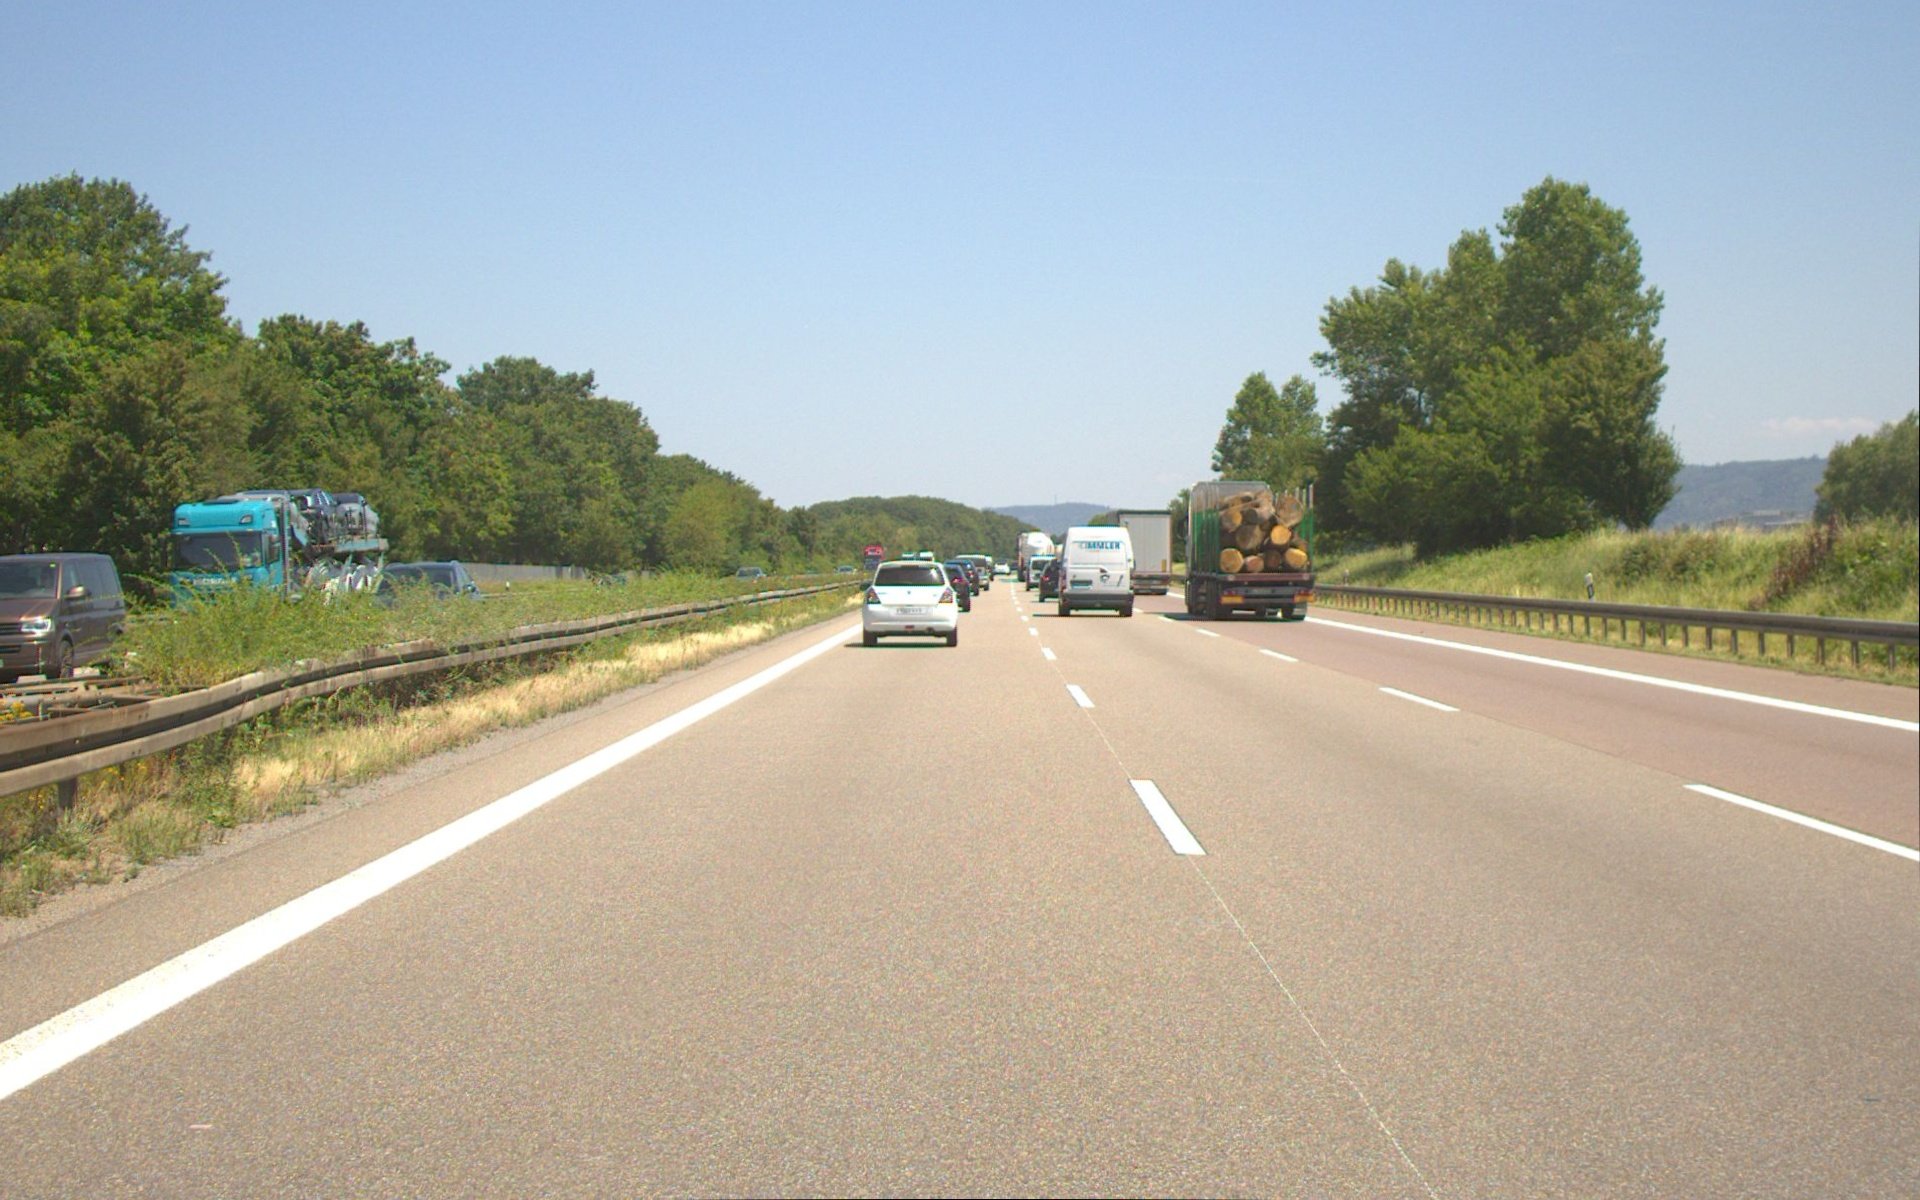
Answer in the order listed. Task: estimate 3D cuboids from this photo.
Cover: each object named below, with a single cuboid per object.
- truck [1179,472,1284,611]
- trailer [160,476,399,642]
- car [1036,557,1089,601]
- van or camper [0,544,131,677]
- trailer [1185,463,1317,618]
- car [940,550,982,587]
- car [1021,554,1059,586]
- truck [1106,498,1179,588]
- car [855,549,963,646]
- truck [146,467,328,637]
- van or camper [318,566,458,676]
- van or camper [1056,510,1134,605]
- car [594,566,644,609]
[{"bbox_3d":[8.009,-1.714,102.033,2.670,3.981,6.636,1,1,1],"label":"truck"},{"bbox_3d":[-18.298,-1.127,94.014,2.878,3.964,17.475,-3,1,0],"label":"trailer"},{"bbox_3d":[3.886,-0.809,131.176,1.857,1.646,4.000,0,1,-1],"label":"car"},{"bbox_3d":[-13.831,0.147,50.918,1.993,1.863,4.456,-2,1,-1],"label":"van or camper"},{"bbox_3d":[7.900,-1.605,94.912,2.653,3.945,13.636,1,1,1],"label":"trailer"},{"bbox_3d":[0.042,-1.415,155.307,1.857,1.646,4.000,0,1,-1],"label":"car"},{"bbox_3d":[4.176,-1.562,180.298,1.857,1.646,4.000,0,1,-1],"label":"car"},{"bbox_3d":[8.946,-2.762,170.254,3.079,4.194,16.843,1,1,1],"label":"truck"},{"bbox_3d":[-0.914,-0.071,61.927,1.857,1.646,4.000,1,1,-1],"label":"car"},{"bbox_3d":[-18.289,-1.218,87.434,2.878,3.962,7.373,-3,1,0],"label":"truck"},{"bbox_3d":[-9.723,0.328,58.690,1.711,1.763,4.000,1,1,0],"label":"van or camper"},{"bbox_3d":[3.799,-1.207,97.562,2.058,2.613,5.985,0,1,1],"label":"van or camper"},{"bbox_3d":[-16.566,-0.639,167.187,1.993,2.007,4.272,1,1,0],"label":"car"}]
